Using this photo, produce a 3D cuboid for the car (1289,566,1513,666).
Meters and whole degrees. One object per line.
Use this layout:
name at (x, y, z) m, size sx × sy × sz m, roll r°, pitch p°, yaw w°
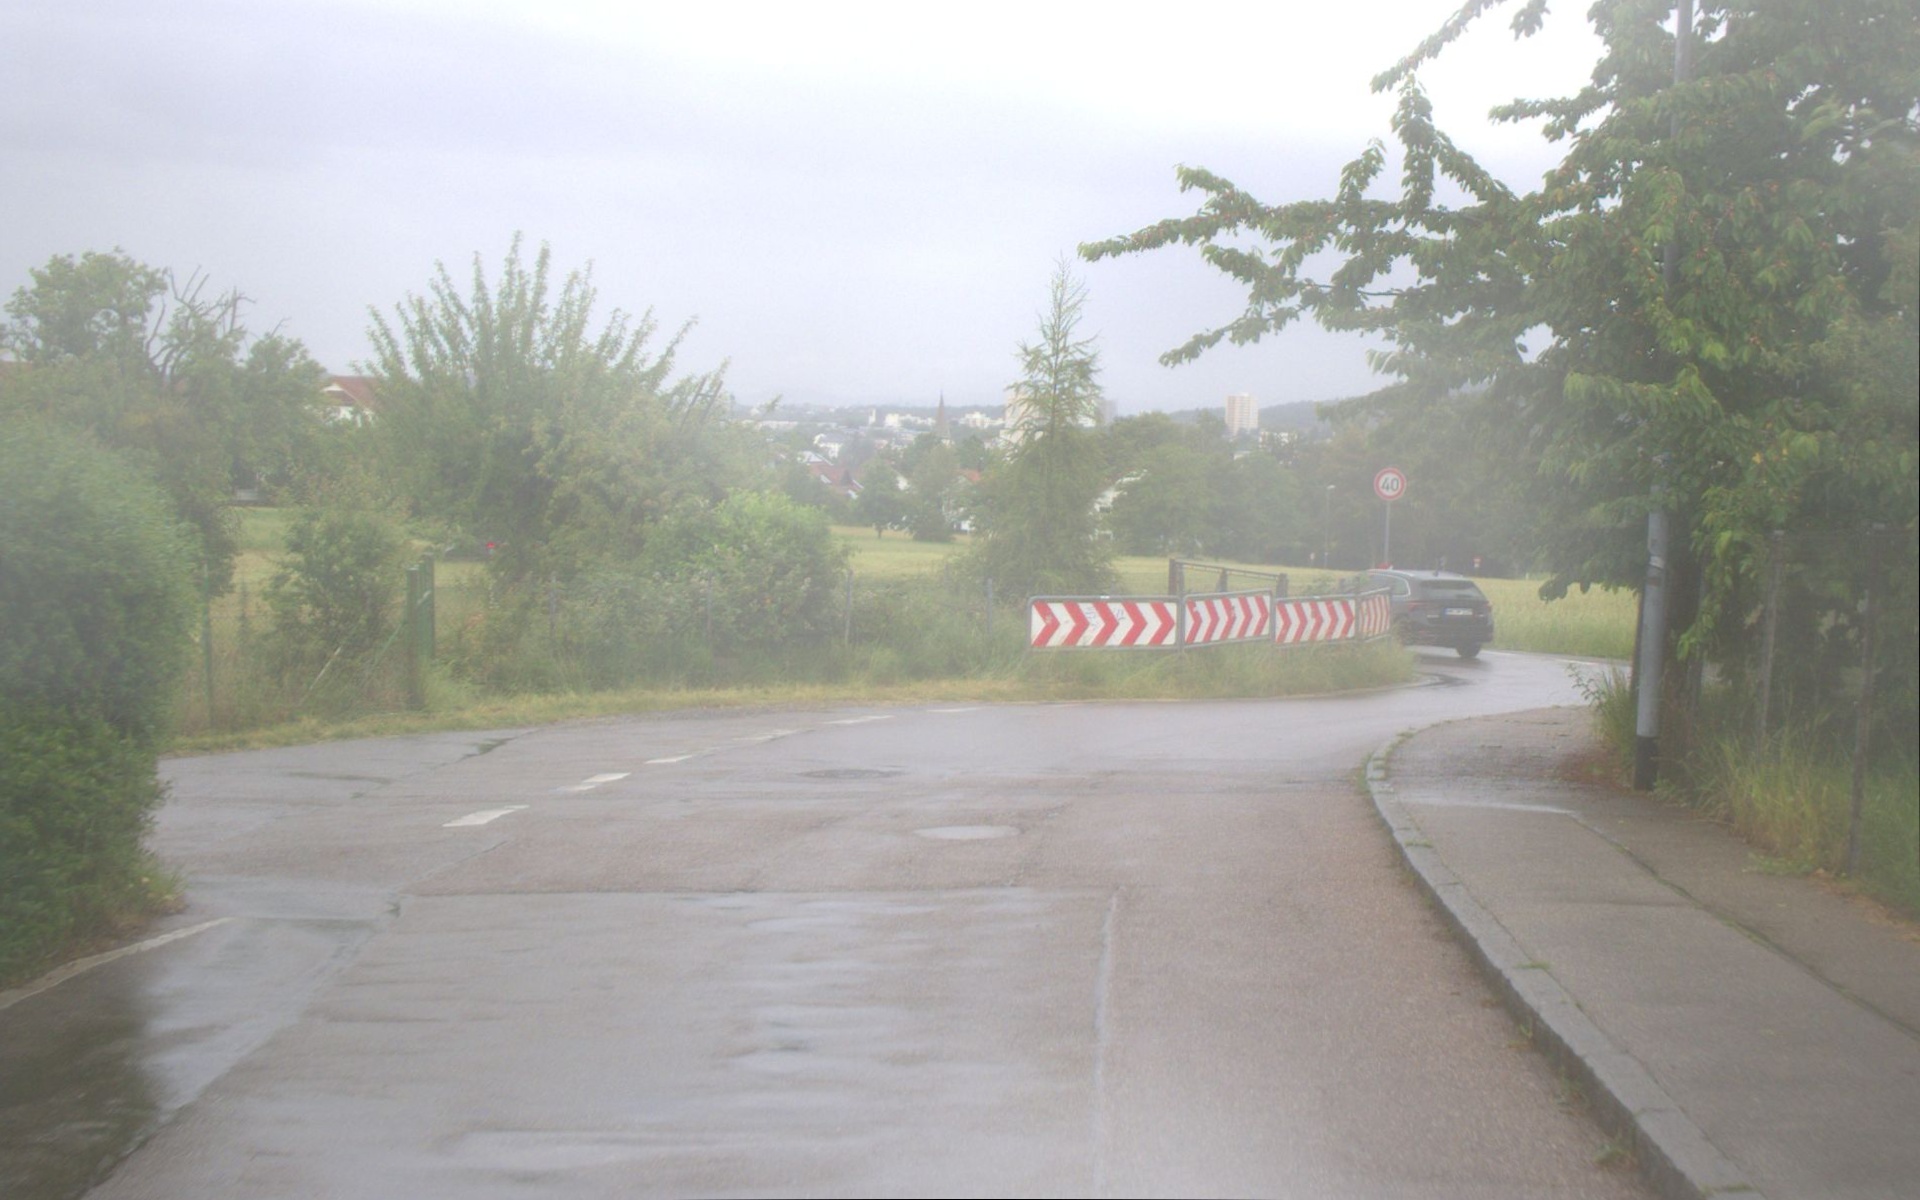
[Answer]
car at (7.562, 0.259, 59.312) m, size 1.814 × 1.588 × 4.001 m, roll 1°, pitch 1°, yaw -28°
